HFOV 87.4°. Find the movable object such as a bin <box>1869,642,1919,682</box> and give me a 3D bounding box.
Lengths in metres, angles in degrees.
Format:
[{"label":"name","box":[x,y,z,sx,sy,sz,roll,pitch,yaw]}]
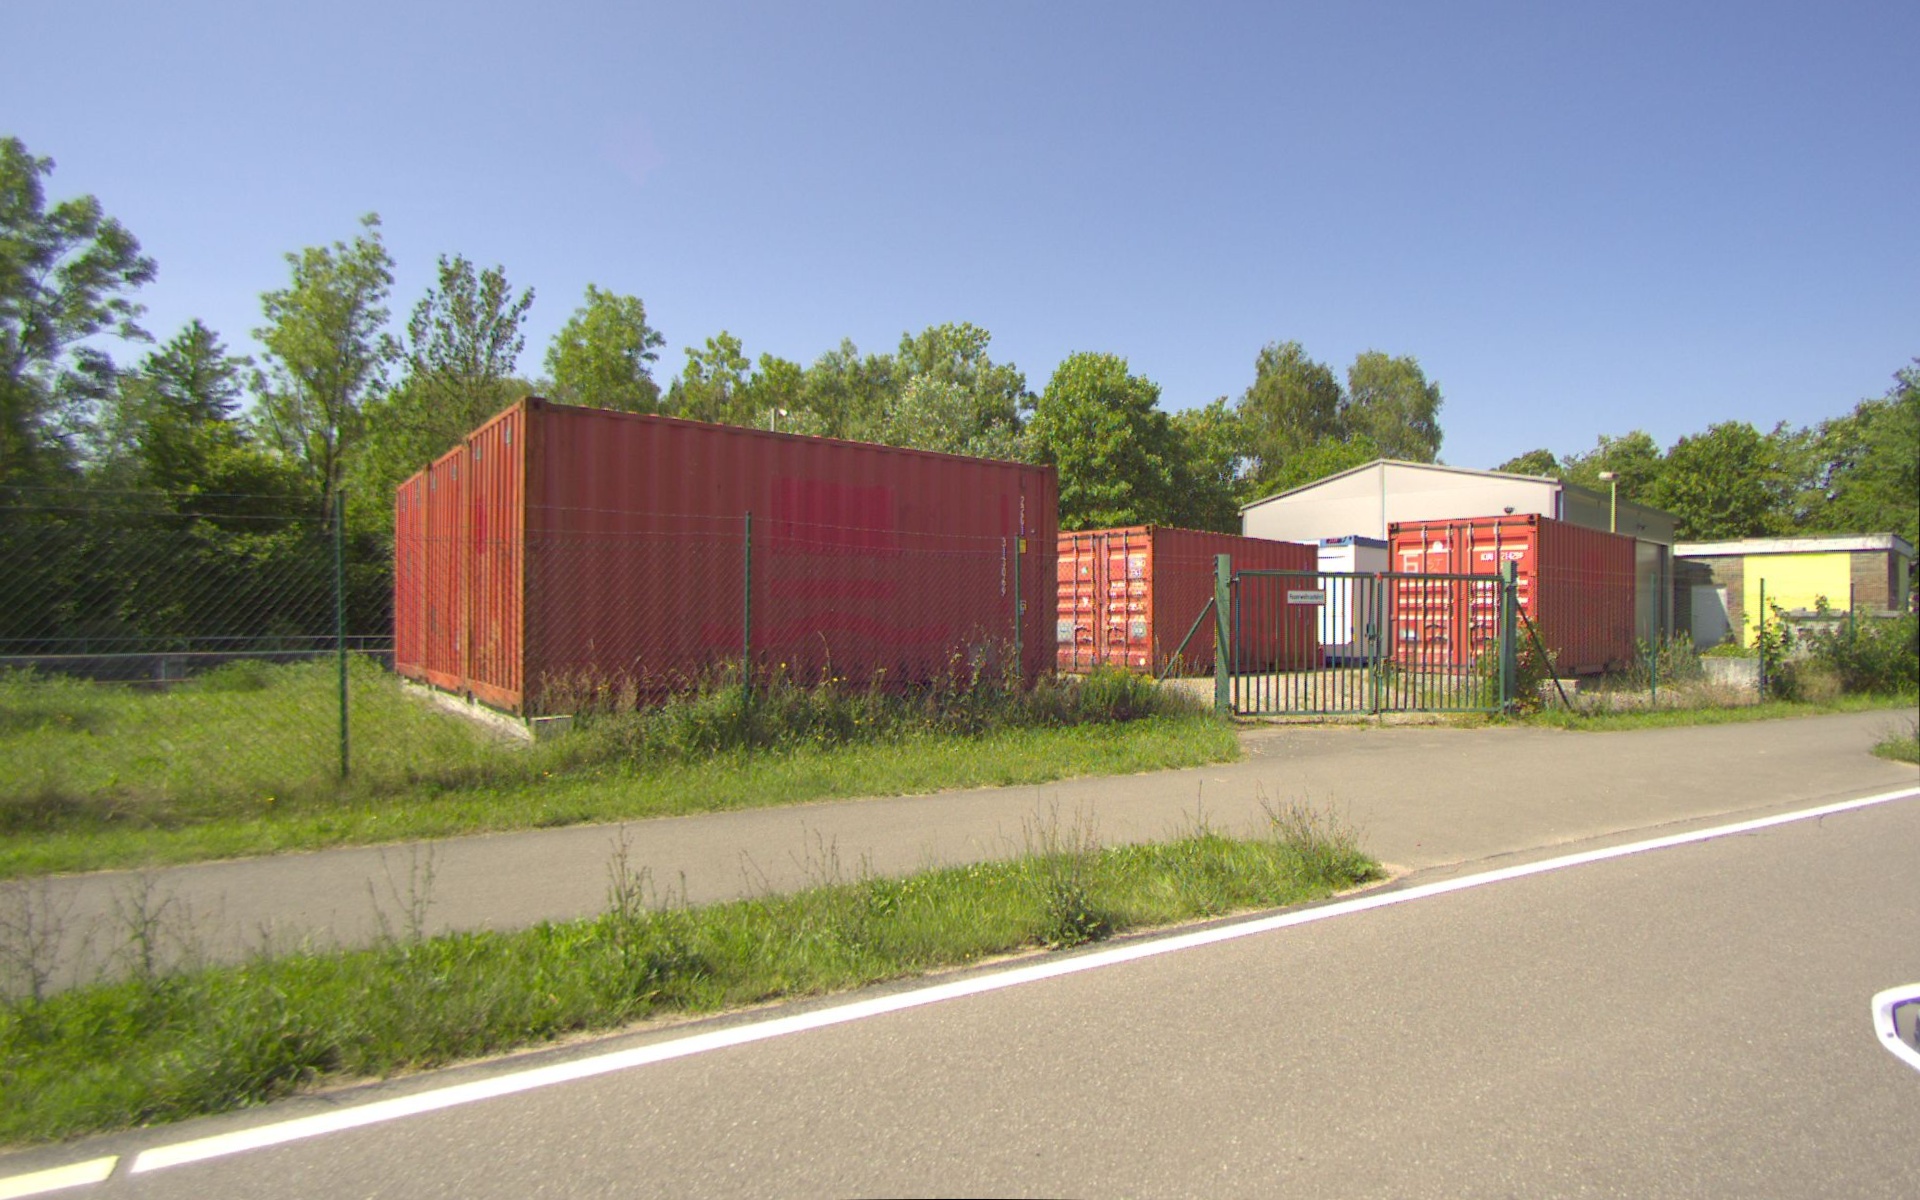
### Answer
[{"label":"movable object such as a bin","box":[21.171,1.365,22.320,1.840,0.842,1.089,1,-1,-36]}]
